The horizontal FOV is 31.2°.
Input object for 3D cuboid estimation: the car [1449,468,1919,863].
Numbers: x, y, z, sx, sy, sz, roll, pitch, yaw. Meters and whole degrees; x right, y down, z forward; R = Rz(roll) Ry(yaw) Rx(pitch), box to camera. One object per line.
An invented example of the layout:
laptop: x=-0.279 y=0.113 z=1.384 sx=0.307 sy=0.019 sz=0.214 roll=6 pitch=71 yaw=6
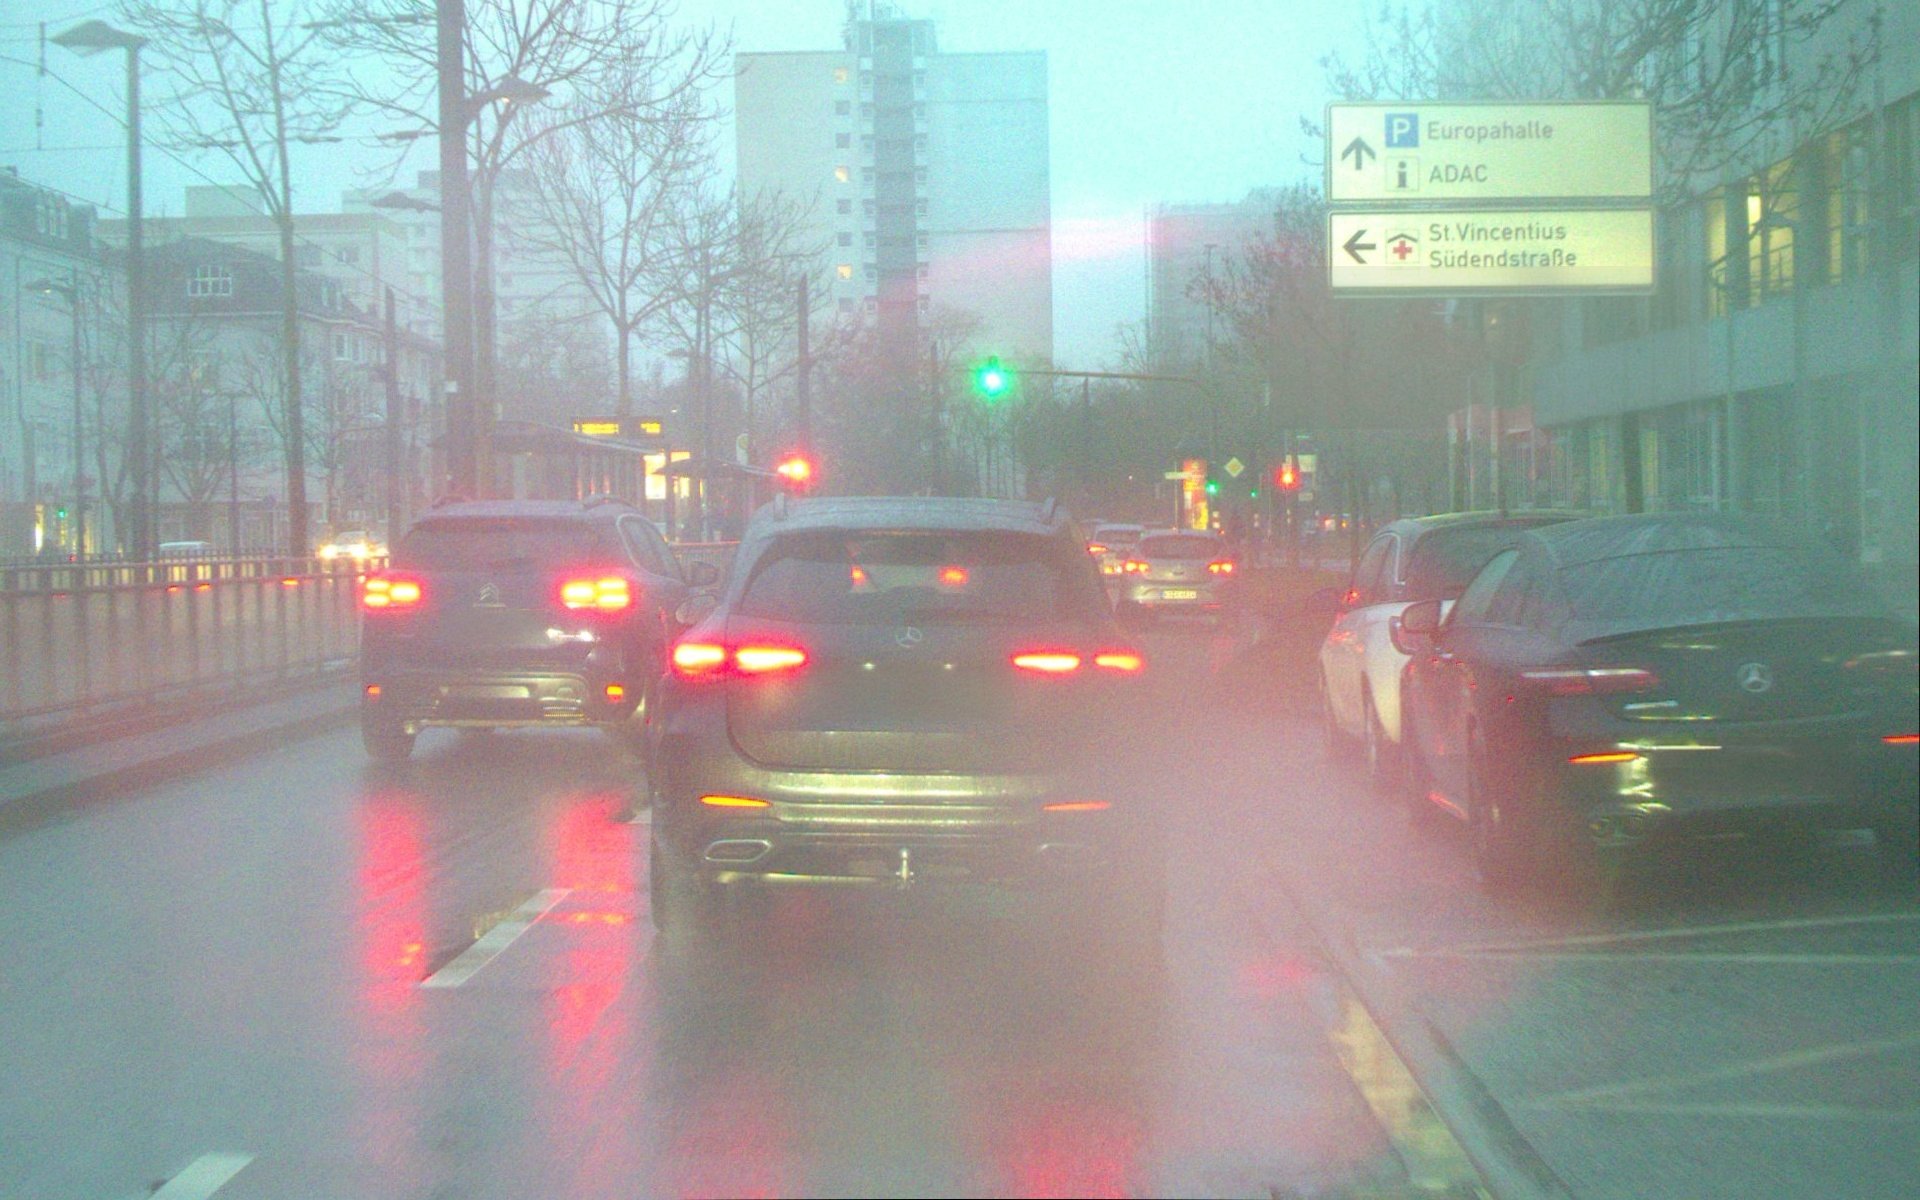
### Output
car: x=3.112 y=0.179 z=14.421 sx=1.754 sy=1.398 sz=4.249 roll=1 pitch=2 yaw=4

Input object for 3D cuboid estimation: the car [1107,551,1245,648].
car: x=3.259 y=-0.040 z=52.434 sx=1.887 sy=1.349 sz=4.102 roll=1 pitch=2 yaw=1

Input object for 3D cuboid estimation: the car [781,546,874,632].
car: x=-3.191 y=-0.299 z=83.658 sx=1.952 sy=2.026 sz=4.883 roll=0 pitch=1 yaw=1

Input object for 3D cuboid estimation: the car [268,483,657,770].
car: x=-3.184 y=0.151 z=22.851 sx=1.993 sy=1.706 sz=4.325 roll=1 pitch=0 yaw=-1

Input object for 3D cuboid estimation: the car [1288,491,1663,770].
car: x=2.846 y=0.109 z=19.620 sx=1.591 sy=1.389 sz=3.487 roll=-2 pitch=2 yaw=0

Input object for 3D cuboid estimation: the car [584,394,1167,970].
car: x=-0.360 y=0.276 z=13.929 sx=1.993 sy=1.969 sz=4.068 roll=1 pitch=0 yaw=-2
